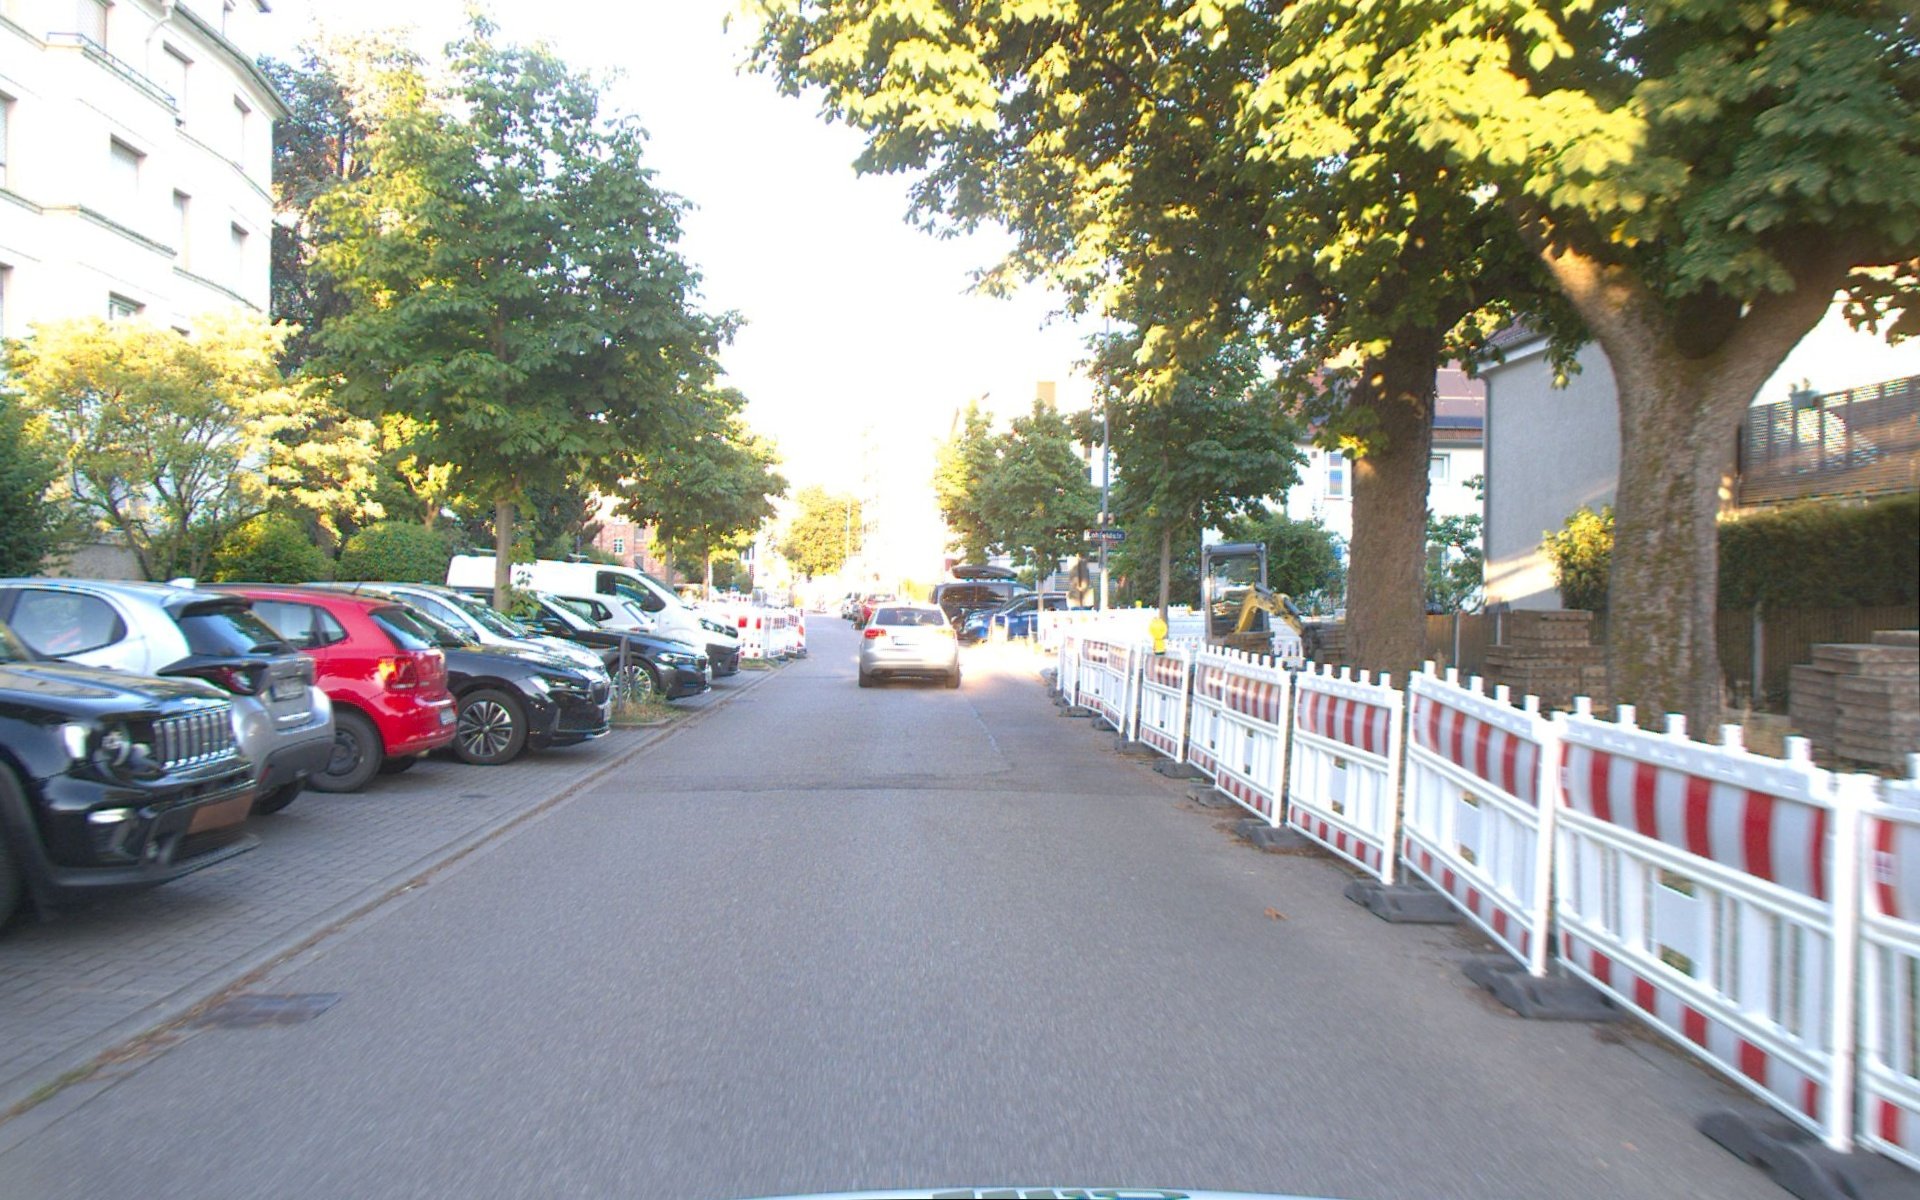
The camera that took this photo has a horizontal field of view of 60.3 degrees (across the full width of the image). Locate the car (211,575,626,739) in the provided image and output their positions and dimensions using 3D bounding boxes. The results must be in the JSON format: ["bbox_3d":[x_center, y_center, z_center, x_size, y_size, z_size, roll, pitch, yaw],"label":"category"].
[{"bbox_3d":[-5.683,0.580,17.778,3.911,1.606,1.799,1,0,-7],"label":"car"}]

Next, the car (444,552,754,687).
[{"bbox_3d":[-5.832,0.303,27.209,4.677,2.049,1.999,1,0,-4],"label":"car"}]

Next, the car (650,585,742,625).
[{"bbox_3d":[-11.573,0.198,72.515,3.915,1.653,1.995,1,0,-11],"label":"car"}]

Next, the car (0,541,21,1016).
[{"bbox_3d":[-5.163,0.574,4.831,3.781,1.622,1.786,1,0,0],"label":"car"}]

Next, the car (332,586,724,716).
[{"bbox_3d":[-5.588,0.651,21.889,4.677,1.496,1.880,2,0,-3],"label":"car"}]

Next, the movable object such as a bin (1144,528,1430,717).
[{"bbox_3d":[4.636,0.276,24.504,2.579,2.444,5.188,1,1,-8],"label":"movable object such as a bin"}]

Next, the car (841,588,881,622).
[{"bbox_3d":[-5.074,0.253,84.122,1.774,1.641,3.575,1,1,-7],"label":"car"}]

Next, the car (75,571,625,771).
[{"bbox_3d":[-5.354,0.611,15.067,4.322,1.643,1.897,1,0,-7],"label":"car"}]

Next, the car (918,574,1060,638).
[{"bbox_3d":[0.949,0.193,56.175,4.476,2.058,2.095,1,0,-11],"label":"car"}]

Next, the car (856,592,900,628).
[{"bbox_3d":[-3.682,0.412,73.734,1.697,1.509,3.552,1,1,-7],"label":"car"}]

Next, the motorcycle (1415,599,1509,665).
[{"bbox_3d":[11.677,0.729,38.528,2.046,1.441,0.593,2,1,45],"label":"motorcycle"}]

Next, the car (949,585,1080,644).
[{"bbox_3d":[1.759,0.462,53.878,3.915,1.799,1.995,1,0,-11],"label":"car"}]

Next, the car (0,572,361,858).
[{"bbox_3d":[-5.874,0.609,9.929,3.909,1.551,1.788,1,0,-6],"label":"car"}]

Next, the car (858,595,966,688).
[{"bbox_3d":[-0.854,0.705,29.208,1.771,1.514,3.998,0,-1,-2],"label":"car"}]

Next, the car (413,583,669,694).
[{"bbox_3d":[-6.153,0.544,24.575,3.345,1.509,1.758,1,0,-1],"label":"car"}]

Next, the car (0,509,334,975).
[{"bbox_3d":[-5.061,0.507,7.381,3.781,1.808,1.843,1,0,0],"label":"car"}]

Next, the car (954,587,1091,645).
[{"bbox_3d":[1.940,0.491,51.385,3.919,1.680,1.759,1,0,-14],"label":"car"}]

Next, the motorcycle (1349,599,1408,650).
[{"bbox_3d":[9.549,0.551,37.684,0.570,1.125,1.837,1,0,39],"label":"motorcycle"}]

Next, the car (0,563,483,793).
[{"bbox_3d":[-5.872,0.558,12.763,3.910,1.611,1.729,1,0,-6],"label":"car"}]
